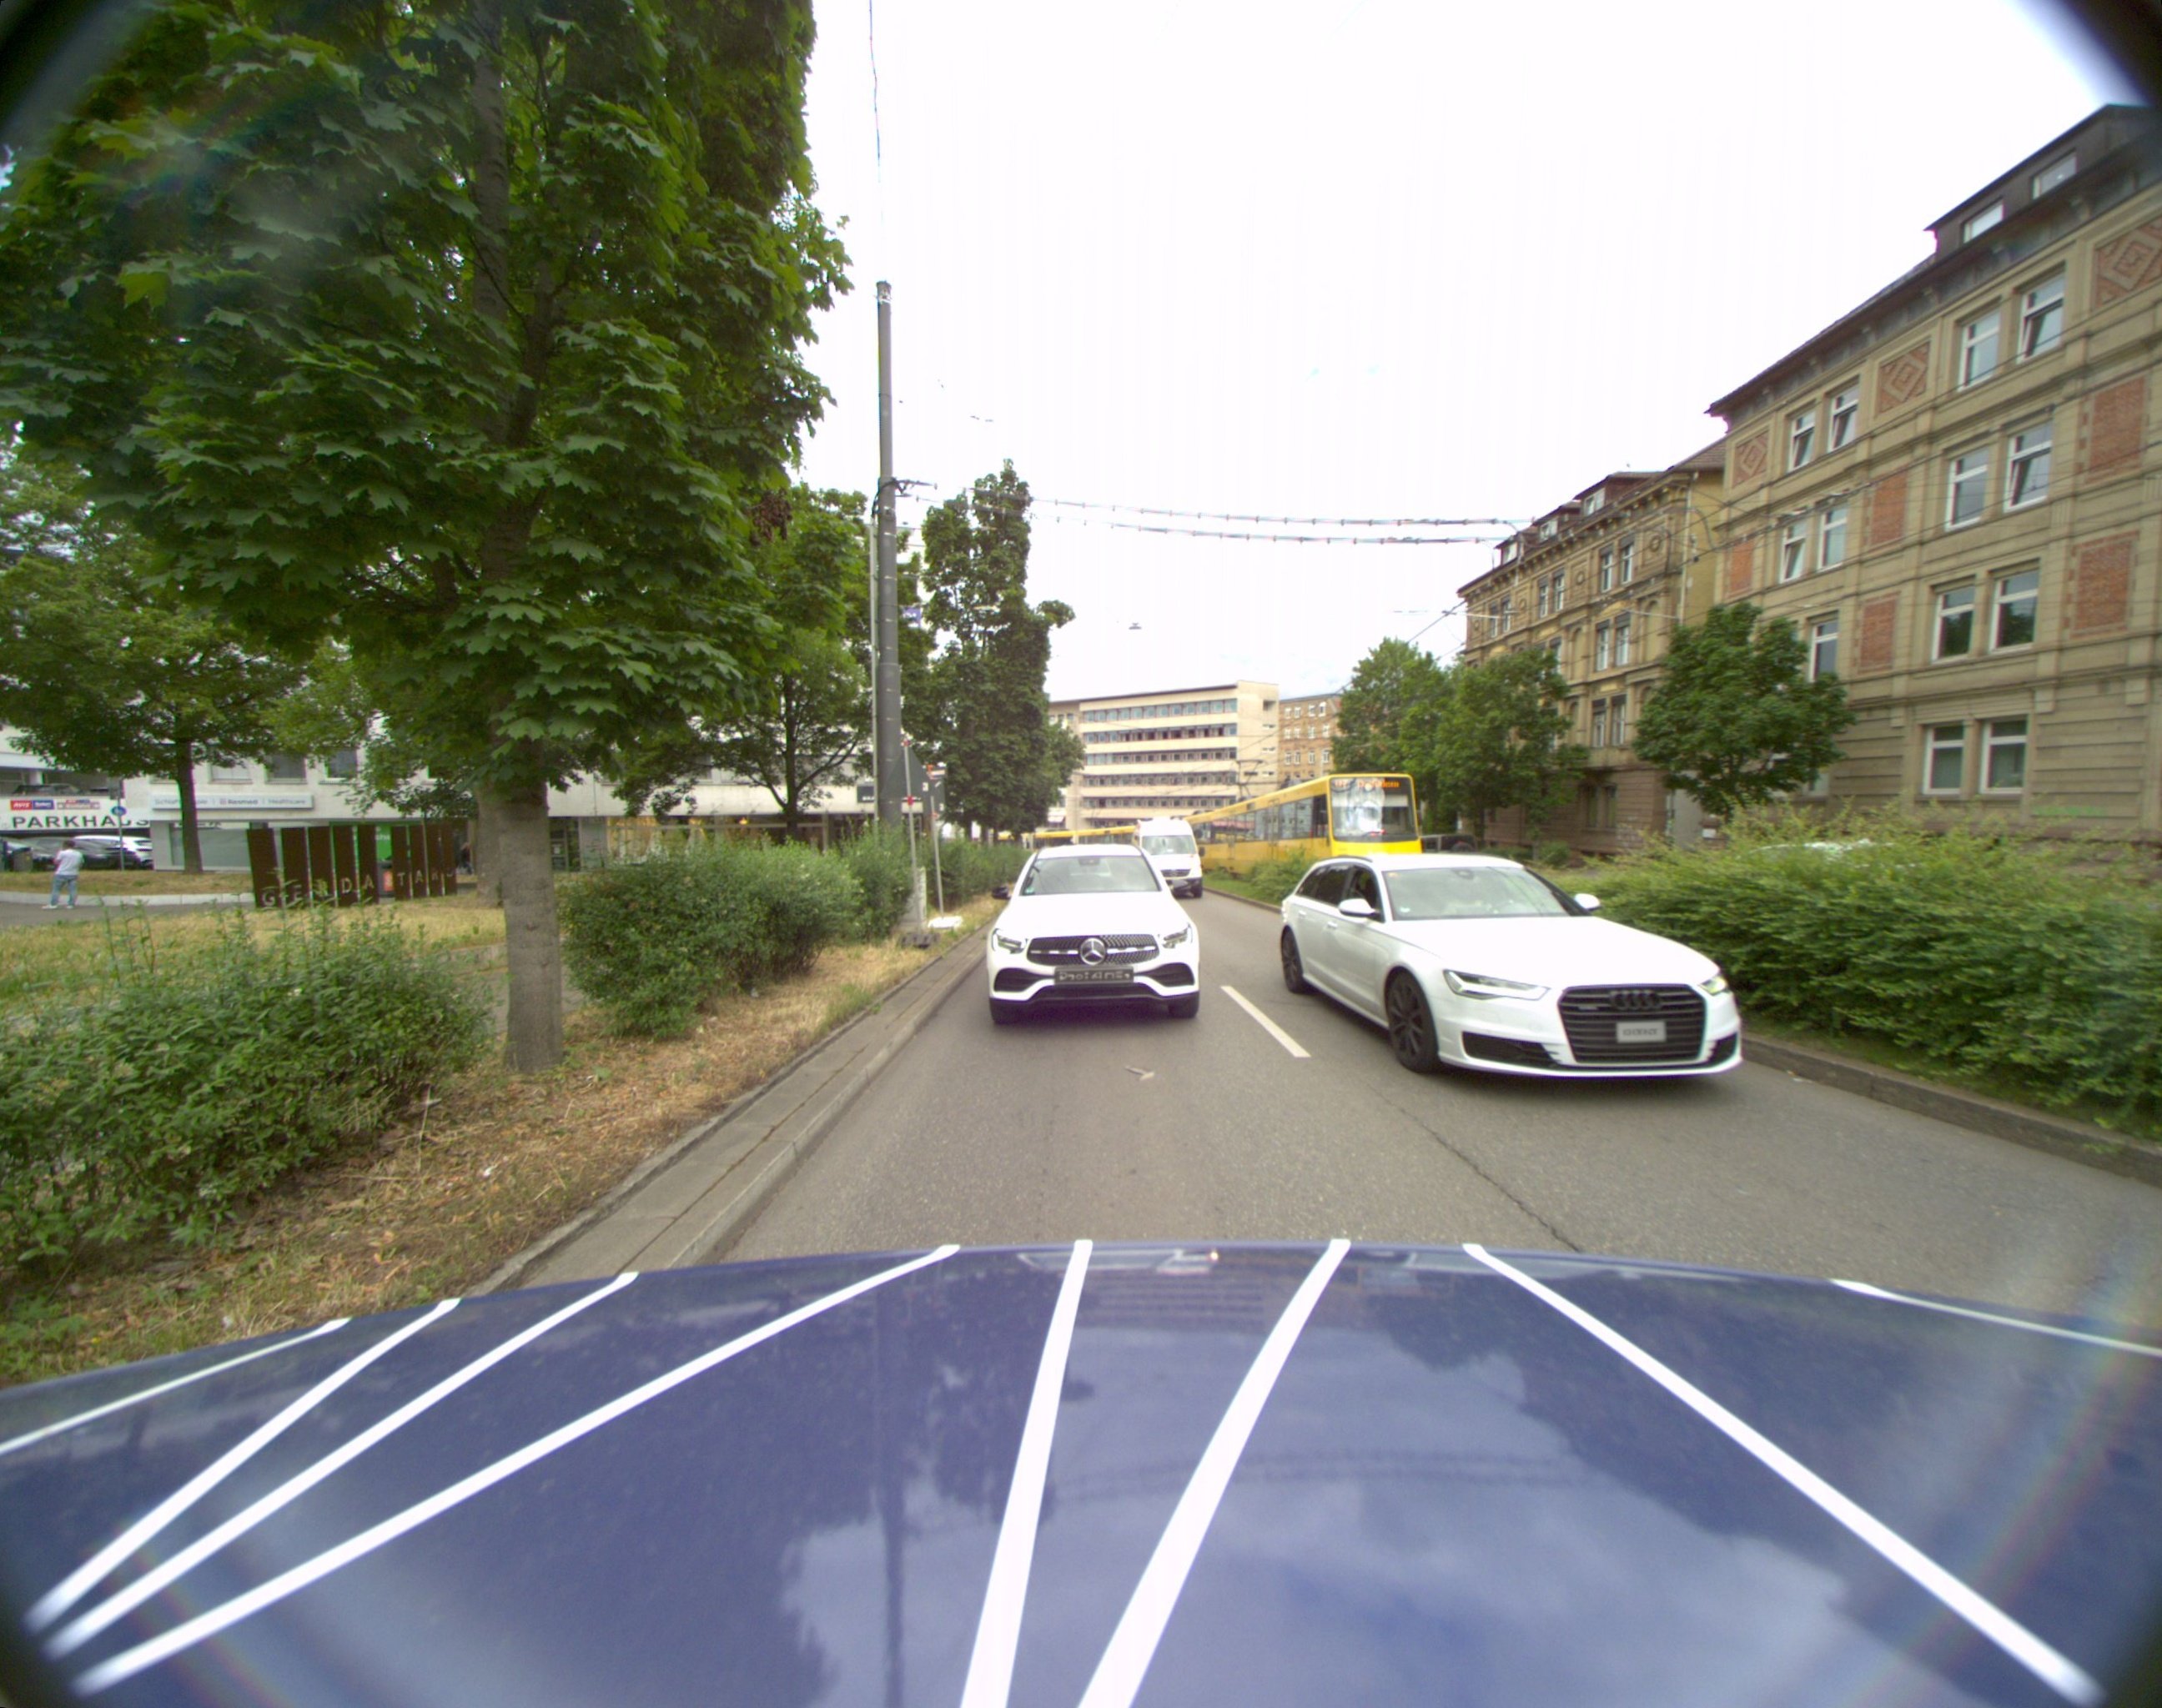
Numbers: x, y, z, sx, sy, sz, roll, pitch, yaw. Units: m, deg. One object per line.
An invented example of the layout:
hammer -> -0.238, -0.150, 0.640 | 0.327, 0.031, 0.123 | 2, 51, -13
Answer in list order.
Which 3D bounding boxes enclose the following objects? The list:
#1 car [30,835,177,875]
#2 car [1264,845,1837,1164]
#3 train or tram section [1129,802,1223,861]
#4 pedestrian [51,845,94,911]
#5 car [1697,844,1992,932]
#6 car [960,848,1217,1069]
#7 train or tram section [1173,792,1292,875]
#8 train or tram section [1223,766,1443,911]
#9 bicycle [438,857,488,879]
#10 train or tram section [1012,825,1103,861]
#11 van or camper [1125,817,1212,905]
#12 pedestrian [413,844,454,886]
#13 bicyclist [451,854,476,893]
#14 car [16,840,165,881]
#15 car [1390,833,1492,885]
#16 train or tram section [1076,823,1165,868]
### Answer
car -> -43.010, 0.027, 33.543 | 3.631, 1.664, 1.595 | -1, 1, -27
car -> 3.026, 0.769, 6.250 | 1.897, 1.467, 4.529 | -3, 2, 0
train or tram section -> 6.539, -1.649, 55.585 | 2.891, 3.643, 14.214 | -3, 2, -9
pedestrian -> -23.428, 0.537, 17.652 | 0.572, 1.513, 0.541 | 1, 1, 33
car -> 14.772, 0.603, 15.099 | 1.744, 1.479, 4.066 | -1, 0, 0
car -> 0.096, 0.804, 8.321 | 1.935, 1.622, 4.773 | -3, 1, 1
train or tram section -> 7.719, -1.142, 41.354 | 2.889, 3.643, 14.221 | -3, 2, -3
train or tram section -> 7.951, -0.655, 27.069 | 2.889, 3.643, 14.469 | -3, 2, 0
bicycle -> -25.855, 0.584, 31.816 | 1.543, 0.854, 0.519 | -1, 1, -11
train or tram section -> -2.891, -1.199, 82.880 | 2.894, 3.423, 14.192 | -6, 4, -32
van or camper -> 2.848, 0.066, 26.195 | 2.208, 2.544, 6.370 | -3, 3, 1
pedestrian -> -26.208, 0.430, 30.763 | 0.880, 1.691, 0.876 | -1, 2, -11
bicyclist -> -25.852, 0.801, 31.823 | 0.596, 1.593, 0.513 | -1, 2, -11
car -> -41.259, 0.230, 31.767 | 3.392, 1.639, 1.595 | -1, 1, -27
car -> 14.001, 0.116, 29.895 | 1.904, 1.866, 4.642 | 0, 2, 2
train or tram section -> 3.286, -1.011, 69.707 | 2.934, 3.540, 14.200 | -4, 4, -19
